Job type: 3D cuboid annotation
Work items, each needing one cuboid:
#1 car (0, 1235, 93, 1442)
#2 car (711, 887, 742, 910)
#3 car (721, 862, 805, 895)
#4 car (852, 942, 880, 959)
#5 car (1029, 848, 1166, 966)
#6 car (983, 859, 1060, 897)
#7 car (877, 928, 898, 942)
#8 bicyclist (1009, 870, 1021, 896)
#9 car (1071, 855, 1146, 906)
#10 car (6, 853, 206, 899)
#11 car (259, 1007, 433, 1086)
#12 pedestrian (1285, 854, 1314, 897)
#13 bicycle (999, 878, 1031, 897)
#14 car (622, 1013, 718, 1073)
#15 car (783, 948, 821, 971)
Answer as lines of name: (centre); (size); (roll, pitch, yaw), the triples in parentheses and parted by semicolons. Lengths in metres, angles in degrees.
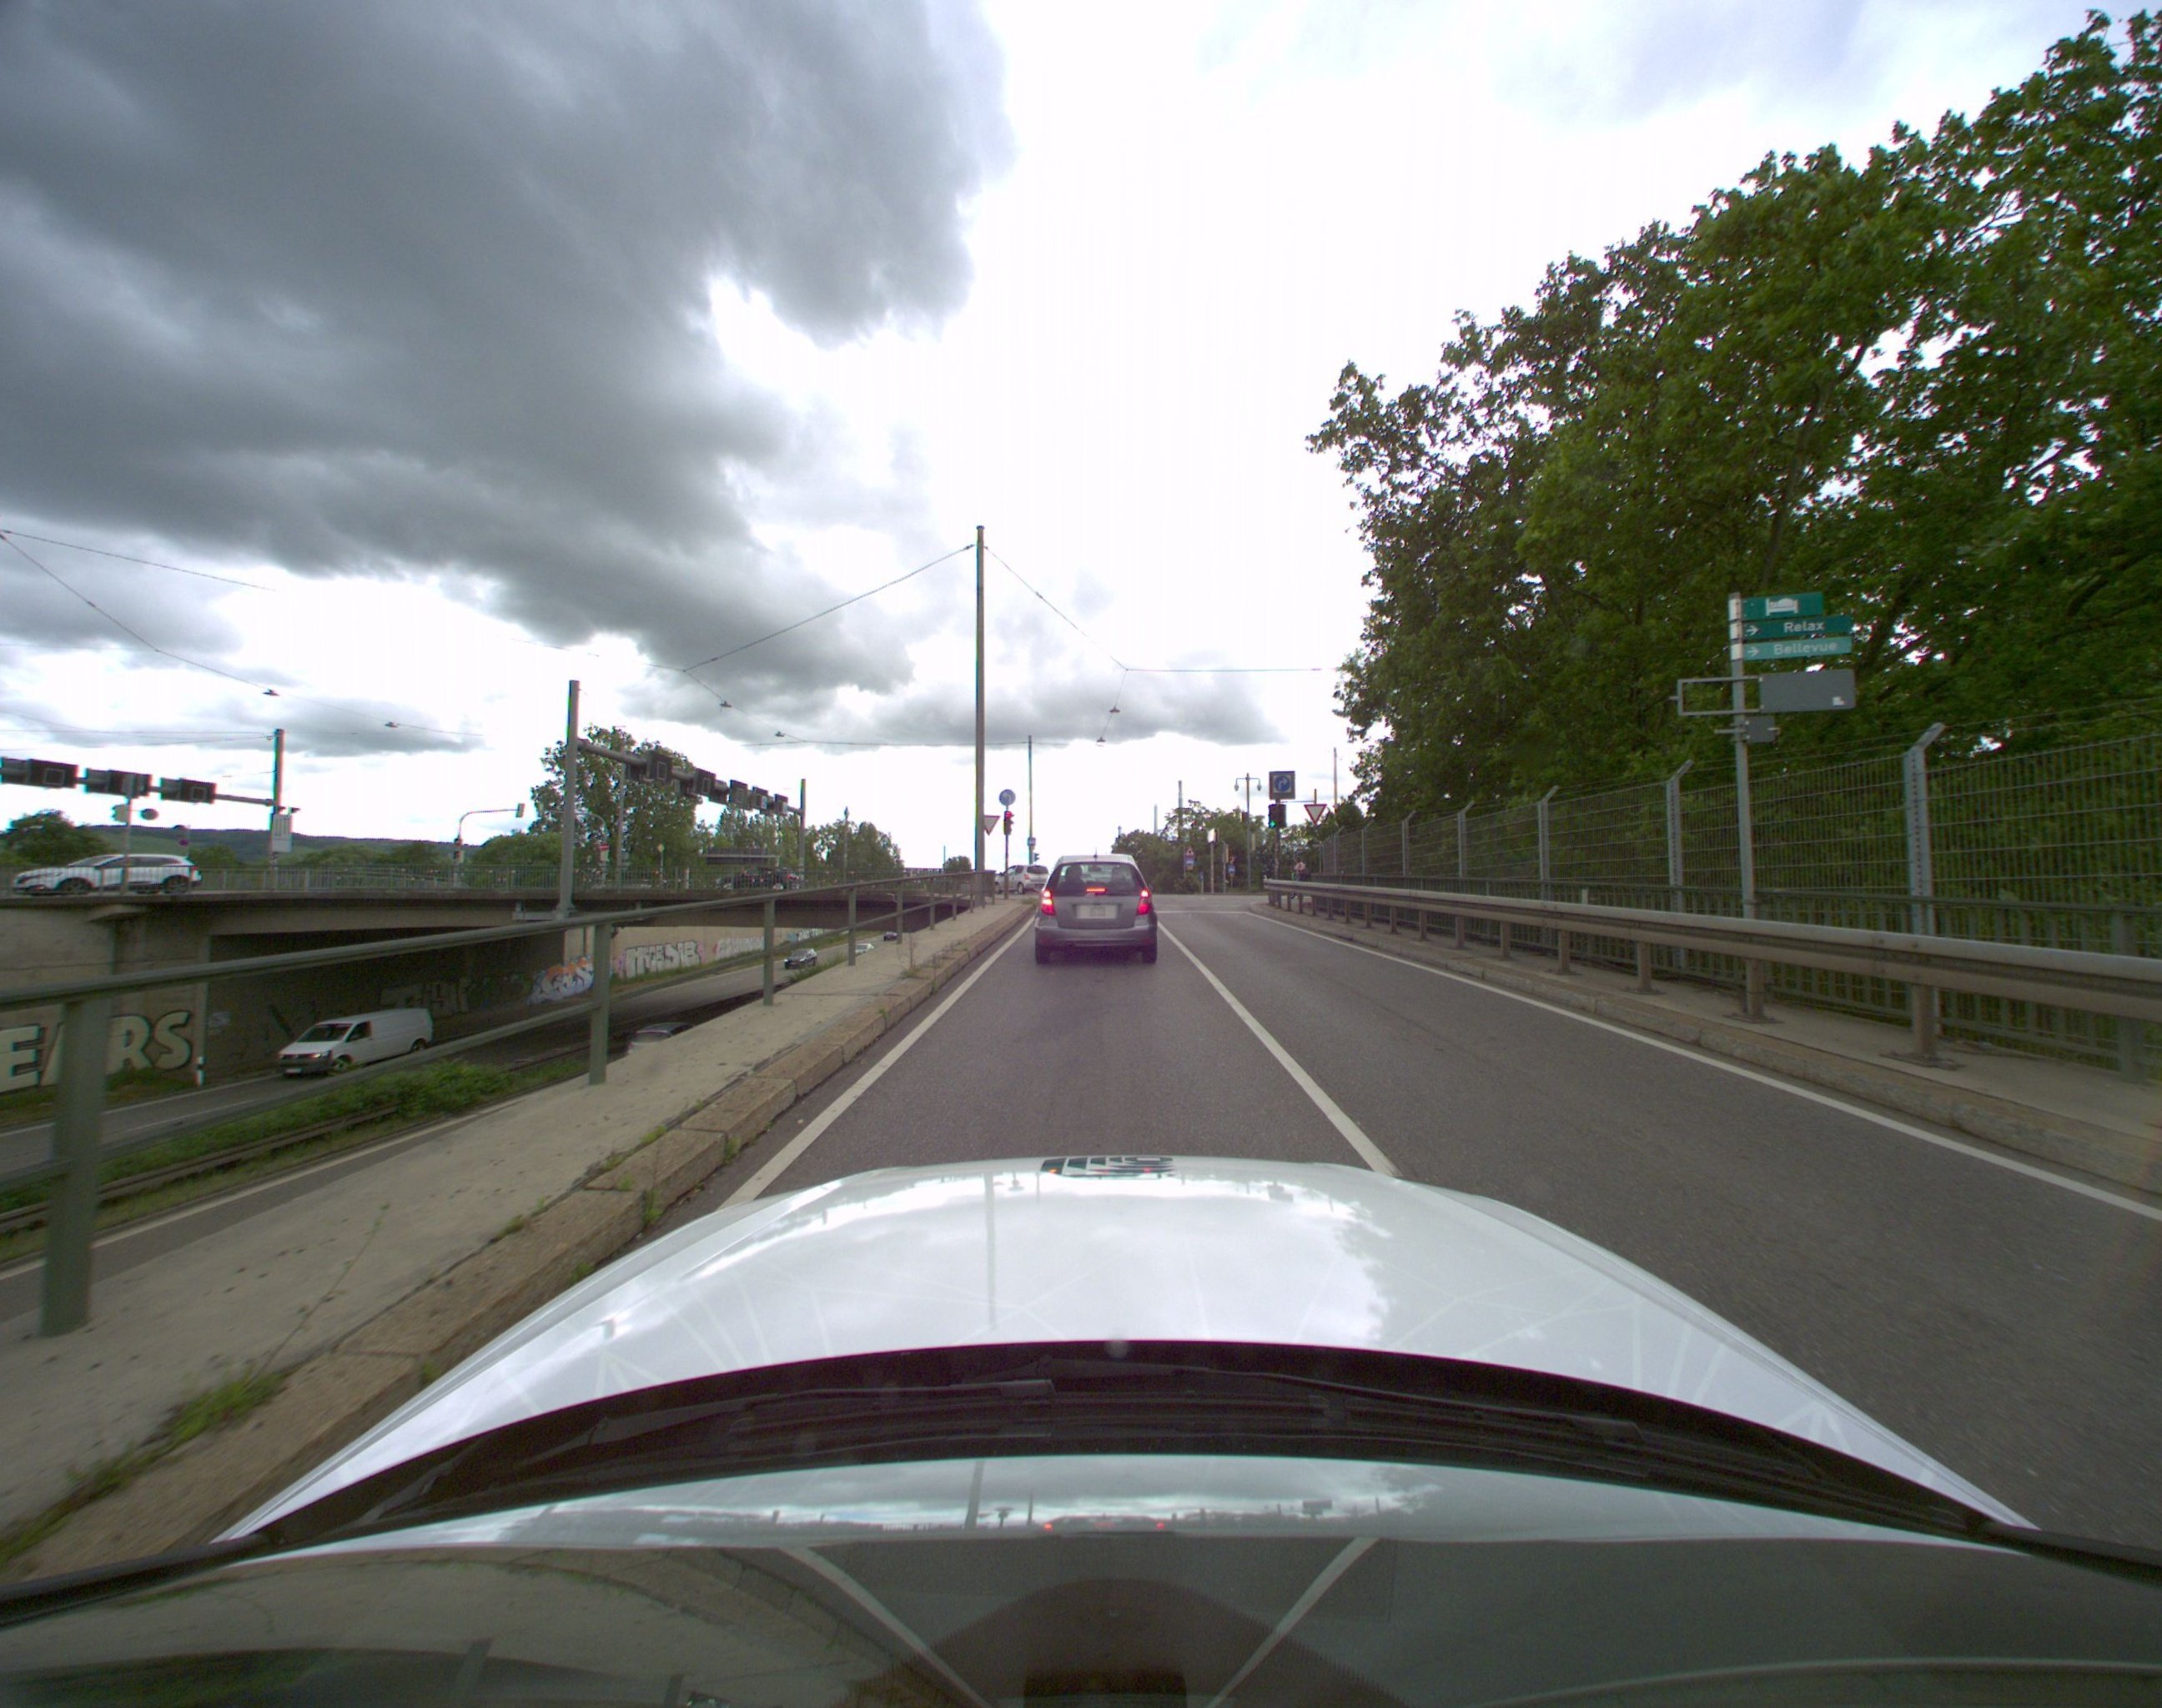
car: (-12.946, 5.409, 7.313); (1.942, 1.935, 4.897); (-1, -4, 2)
car: (-37.202, 4.691, 85.524); (1.851, 2.215, 3.658); (-1, 0, -3)
car: (-17.895, 1.372, 45.970); (3.975, 1.717, 1.937); (-1, 0, -1)
car: (-22.608, 10.100, 85.739); (1.722, 1.528, 4.086); (-1, -3, 1)
car: (0.334, 0.719, 13.059); (1.850, 1.588, 4.003); (-1, 0, 3)
car: (-2.953, 1.149, 39.775); (1.946, 1.717, 3.955); (-1, 0, -37)
car: (-28.532, 11.955, 120.394); (1.924, 1.842, 4.409); (-2, -3, 1)
bicyclist: (-4.343, 1.898, 53.466); (0.653, 1.673, 0.866); (-1, -1, -10)
car: (0.924, 0.904, 30.073); (1.931, 1.717, 4.392); (-1, 0, -9)
car: (-35.891, 0.774, 30.157); (1.819, 1.576, 4.365); (-1, 0, 16)
car: (-28.210, 7.329, 31.578); (1.988, 2.067, 5.173); (-1, -3, -1)
pedestrian: (8.719, 0.875, 32.521); (0.830, 1.678, 0.978); (-1, -4, -2)
bicycle: (-4.351, 2.183, 53.449); (2.033, 1.124, 0.926); (-1, 0, -10)
car: (-15.171, 6.960, 30.298); (1.550, 1.553, 3.684); (-1, -3, 3)
car: (-25.687, 9.692, 75.177); (1.909, 1.739, 4.551); (-2, -3, 0)
